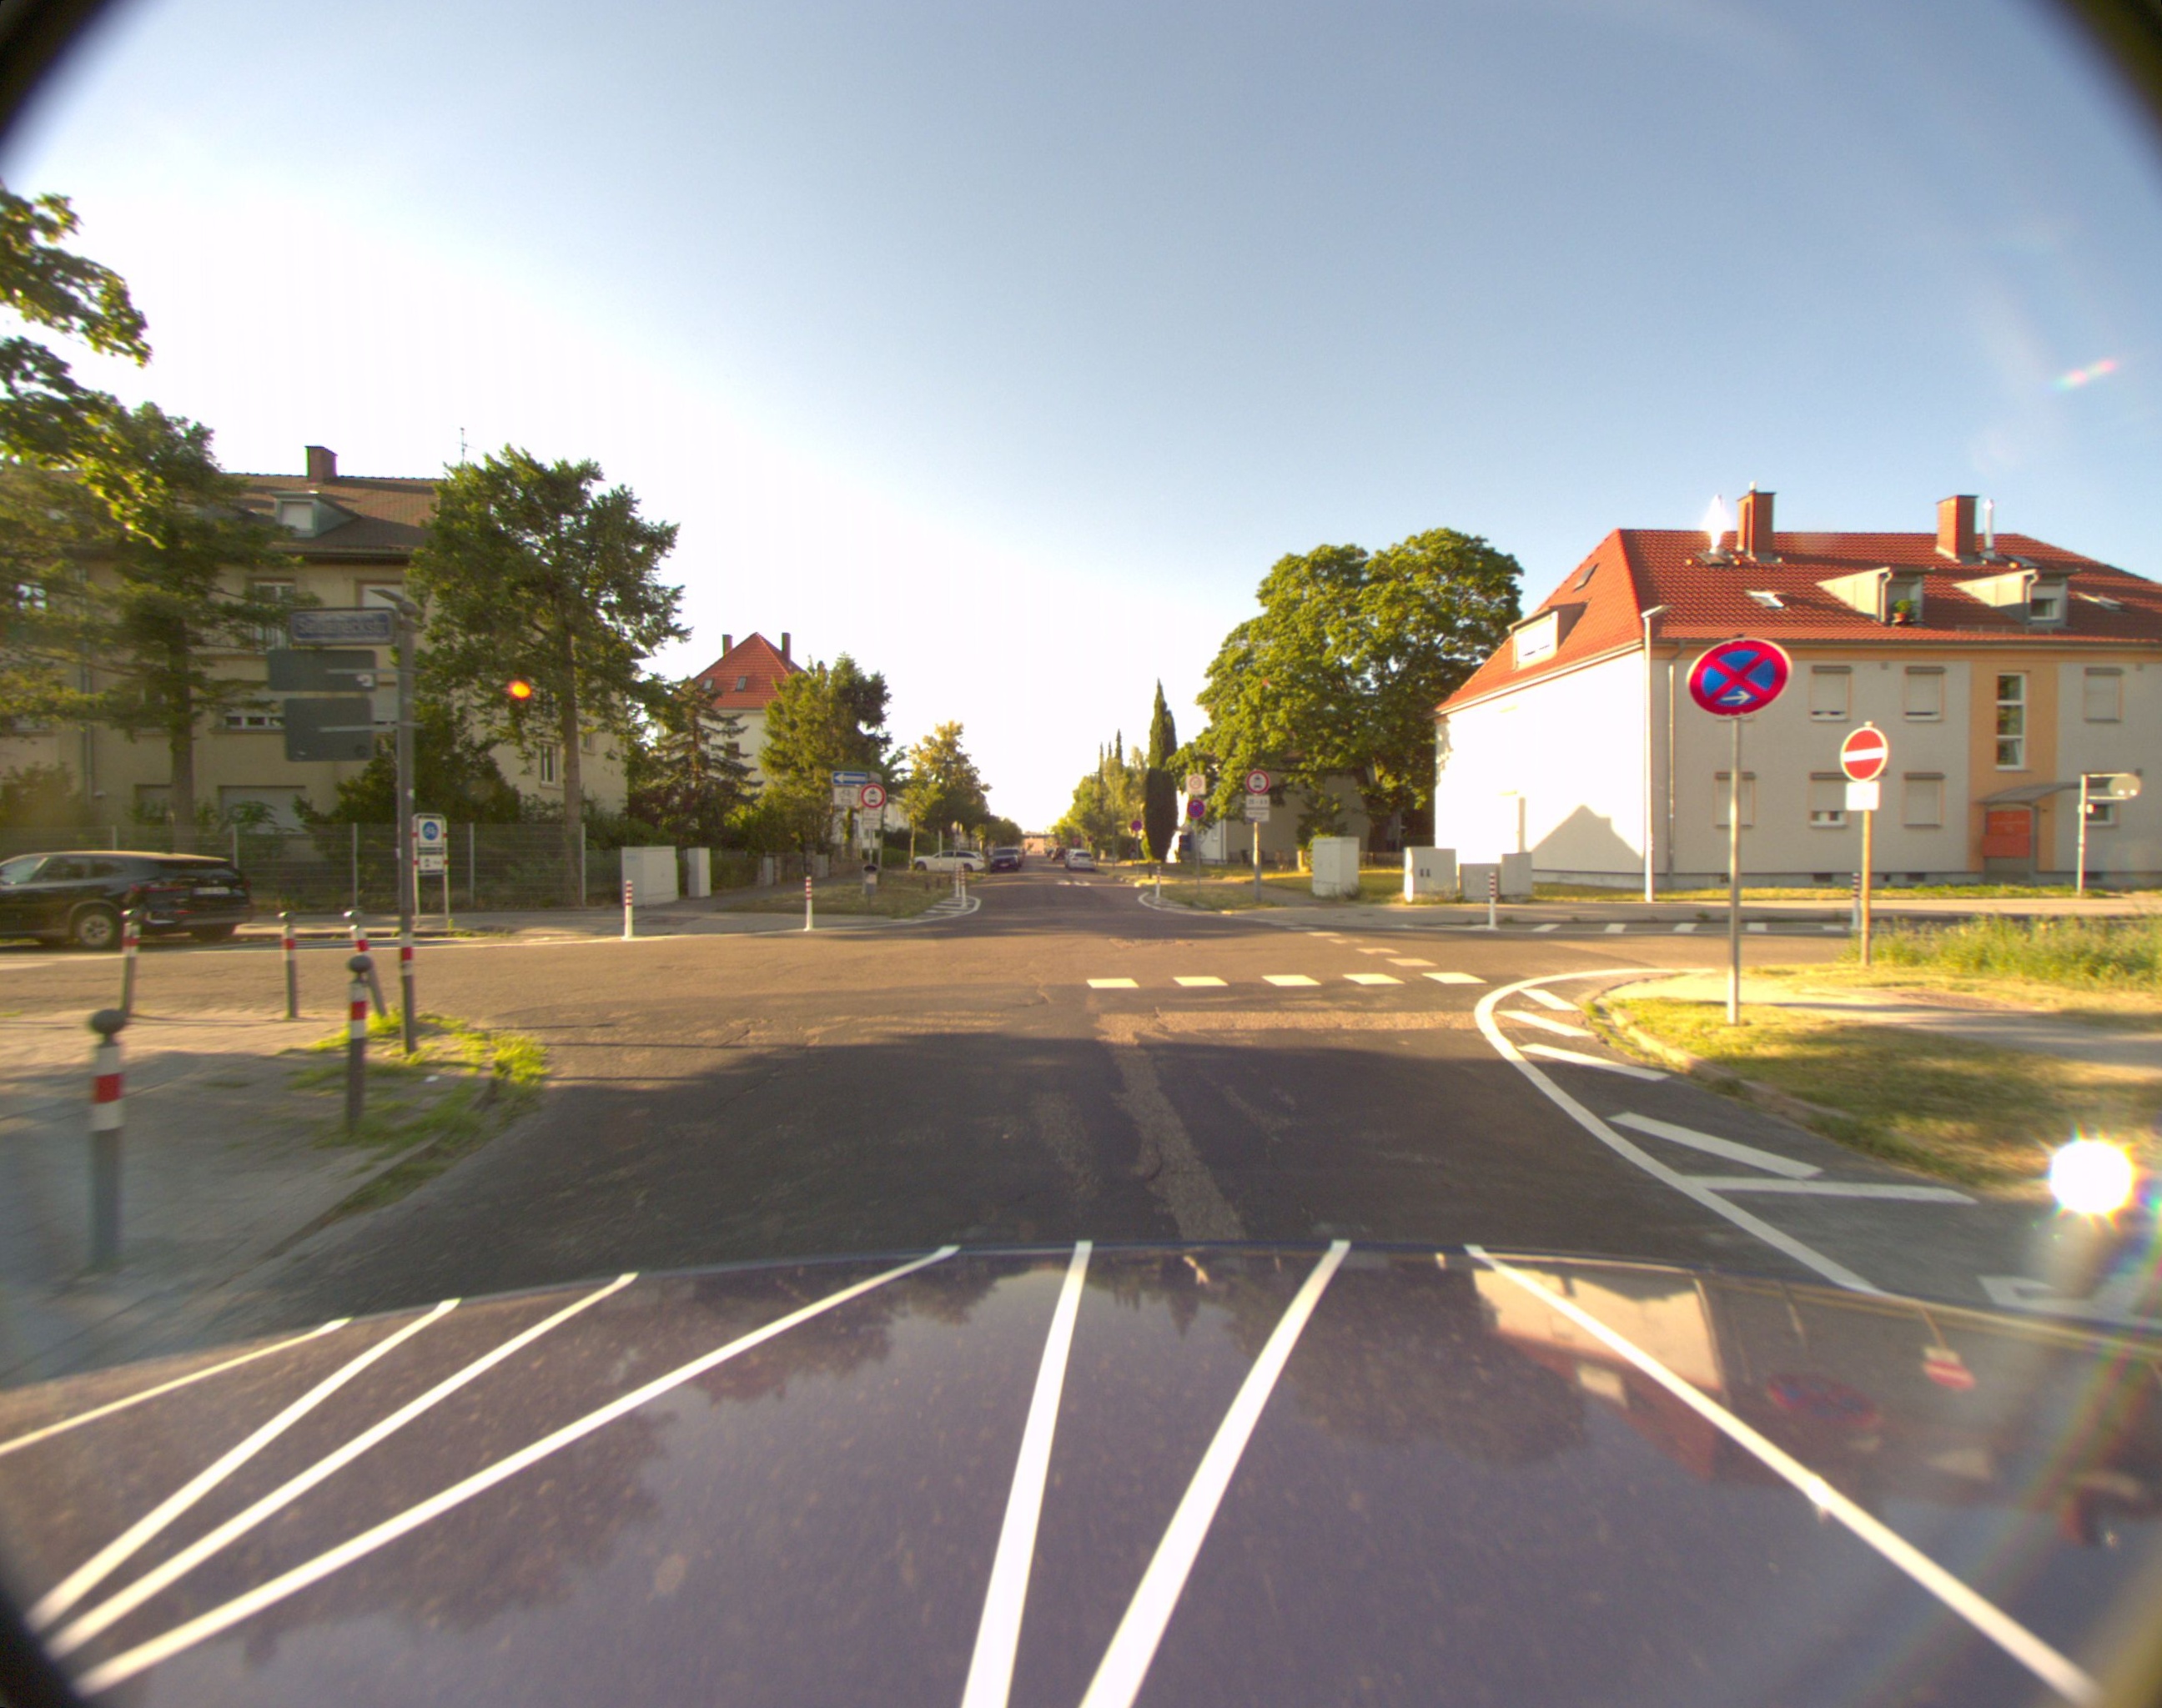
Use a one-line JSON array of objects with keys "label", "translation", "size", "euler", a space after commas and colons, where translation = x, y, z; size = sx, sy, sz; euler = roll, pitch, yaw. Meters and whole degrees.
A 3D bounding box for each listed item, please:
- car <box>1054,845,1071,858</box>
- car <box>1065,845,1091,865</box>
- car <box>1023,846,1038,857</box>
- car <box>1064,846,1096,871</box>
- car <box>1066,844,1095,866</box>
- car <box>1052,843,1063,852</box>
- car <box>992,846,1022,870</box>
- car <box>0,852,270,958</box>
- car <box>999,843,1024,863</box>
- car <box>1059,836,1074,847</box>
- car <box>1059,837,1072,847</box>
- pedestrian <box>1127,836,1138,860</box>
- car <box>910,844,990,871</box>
[{"label": "car", "translation": [-2.437, -0.343, 99.242], "size": [1.971, 1.604, 4.245], "euler": [-1, 1, -4]}, {"label": "car", "translation": [-0.292, 0.036, 64.901], "size": [1.971, 1.604, 4.245], "euler": [-1, 1, -4]}, {"label": "car", "translation": [-7.885, -0.418, 118.205], "size": [1.971, 1.604, 4.244], "euler": [-1, 1, -7]}, {"label": "car", "translation": [-0.138, 0.270, 53.566], "size": [1.971, 1.604, 4.245], "euler": [-1, 1, -4]}, {"label": "car", "translation": [-0.059, 0.032, 60.222], "size": [1.971, 1.604, 4.245], "euler": [-1, 1, -4]}, {"label": "car", "translation": [-4.437, -1.170, 142.632], "size": [1.971, 1.604, 4.245], "euler": [-1, 1, -4]}, {"label": "car", "translation": [-5.220, 0.250, 52.980], "size": [1.971, 1.604, 4.244], "euler": [-1, 1, -7]}, {"label": "car", "translation": [-16.883, 0.843, 12.858], "size": [4.214, 1.631, 1.823], "euler": [-1, -1, -3]}, {"label": "car", "translation": [-5.980, -0.124, 64.961], "size": [1.971, 1.604, 4.244], "euler": [-1, 1, -7]}, {"label": "car", "translation": [-2.182, -1.959, 114.558], "size": [1.971, 1.604, 4.245], "euler": [-1, 1, -4]}, {"label": "car", "translation": [-2.703, -2.055, 130.627], "size": [1.971, 1.604, 4.245], "euler": [-1, 1, -4]}, {"label": "pedestrian", "translation": [4.245, -0.514, 62.752], "size": [0.898, 2.002, 0.692], "euler": [-1, 2, -2]}, {"label": "car", "translation": [-8.243, 0.218, 48.294], "size": [4.837, 1.604, 1.970], "euler": [1, 1, -5]}]
